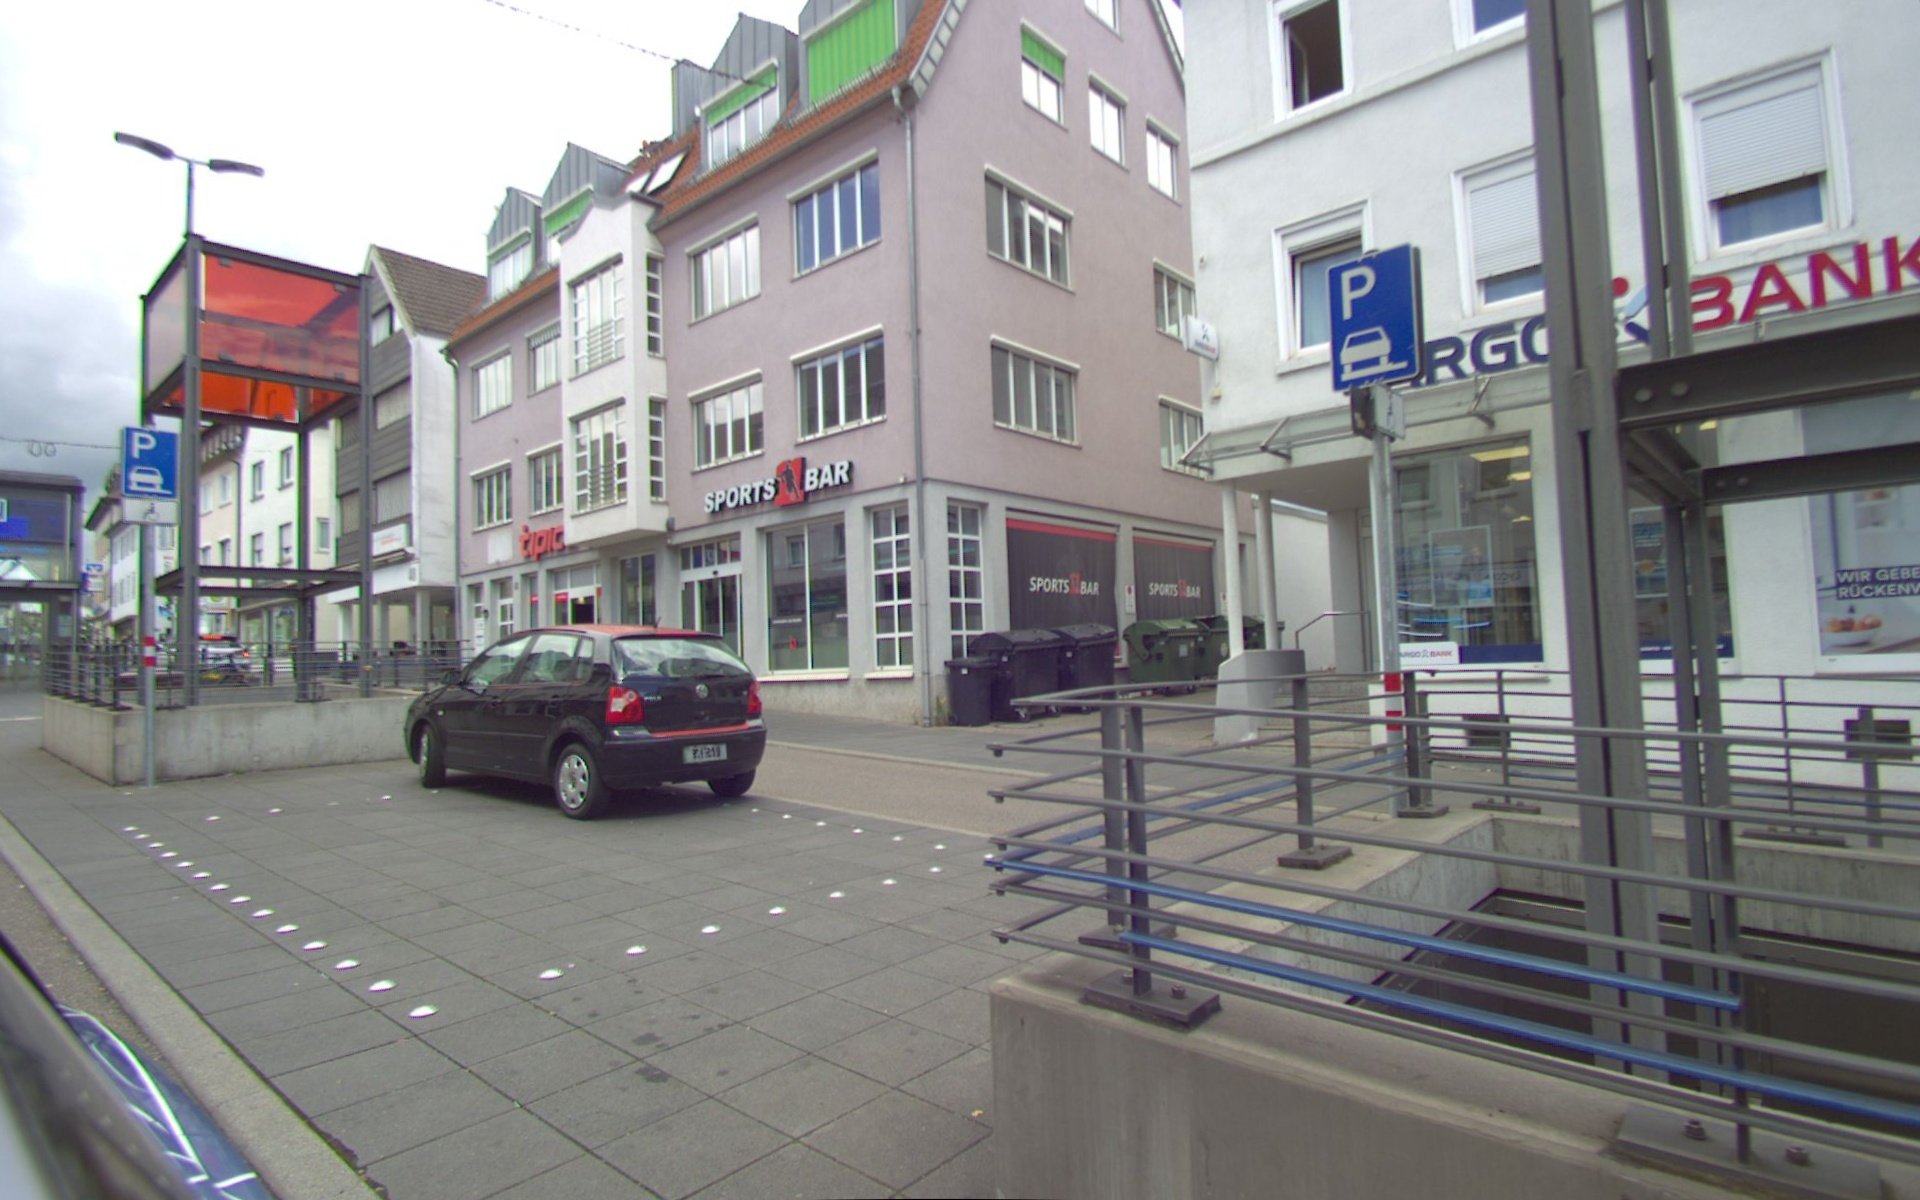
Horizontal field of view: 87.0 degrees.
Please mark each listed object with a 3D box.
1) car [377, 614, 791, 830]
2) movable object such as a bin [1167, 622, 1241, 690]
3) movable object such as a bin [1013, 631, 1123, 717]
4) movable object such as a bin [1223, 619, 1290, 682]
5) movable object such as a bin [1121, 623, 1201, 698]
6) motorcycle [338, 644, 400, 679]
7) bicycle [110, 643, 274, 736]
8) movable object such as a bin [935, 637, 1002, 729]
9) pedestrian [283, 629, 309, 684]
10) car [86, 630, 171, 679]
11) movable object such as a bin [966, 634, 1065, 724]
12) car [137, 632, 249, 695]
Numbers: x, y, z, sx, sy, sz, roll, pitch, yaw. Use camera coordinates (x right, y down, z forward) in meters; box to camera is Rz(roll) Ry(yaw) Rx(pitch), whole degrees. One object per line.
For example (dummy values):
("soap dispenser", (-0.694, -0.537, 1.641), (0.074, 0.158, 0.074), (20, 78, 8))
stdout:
("car", (-3.380, 0.913, 8.810), (3.850, 1.486, 1.554), (-1, -4, 38))
("movable object such as a bin", (5.162, 1.162, 21.381), (1.043, 1.387, 1.270), (-2, -2, 41))
("movable object such as a bin", (1.864, 1.237, 17.405), (1.406, 1.387, 1.270), (-2, -2, 41))
("movable object such as a bin", (6.862, 1.145, 23.386), (1.043, 1.387, 1.270), (-2, -2, 41))
("movable object such as a bin", (3.942, 1.156, 19.797), (1.043, 1.387, 1.270), (-2, -2, 41))
("motorcycle", (-21.340, 2.210, 36.588), (0.633, 1.149, 1.830), (-1, -1, 40))
("bicycle", (-10.819, 1.224, 14.316), (0.459, 1.232, 1.760), (-1, -3, 40))
("movable object such as a bin", (0.132, 1.288, 15.948), (0.807, 1.387, 0.682), (-2, -2, 41))
("pedestrian", (-21.392, 1.811, 32.611), (0.513, 1.729, 0.584), (-1, -1, 41))
("car", (-29.277, 1.876, 35.593), (4.120, 1.583, 1.662), (-1, -1, 41))
("movable object such as a bin", (0.920, 1.265, 16.608), (1.067, 1.387, 1.270), (-2, -2, 41))
("car", (-21.448, 1.710, 28.242), (4.120, 1.583, 1.662), (-1, -1, 41))
